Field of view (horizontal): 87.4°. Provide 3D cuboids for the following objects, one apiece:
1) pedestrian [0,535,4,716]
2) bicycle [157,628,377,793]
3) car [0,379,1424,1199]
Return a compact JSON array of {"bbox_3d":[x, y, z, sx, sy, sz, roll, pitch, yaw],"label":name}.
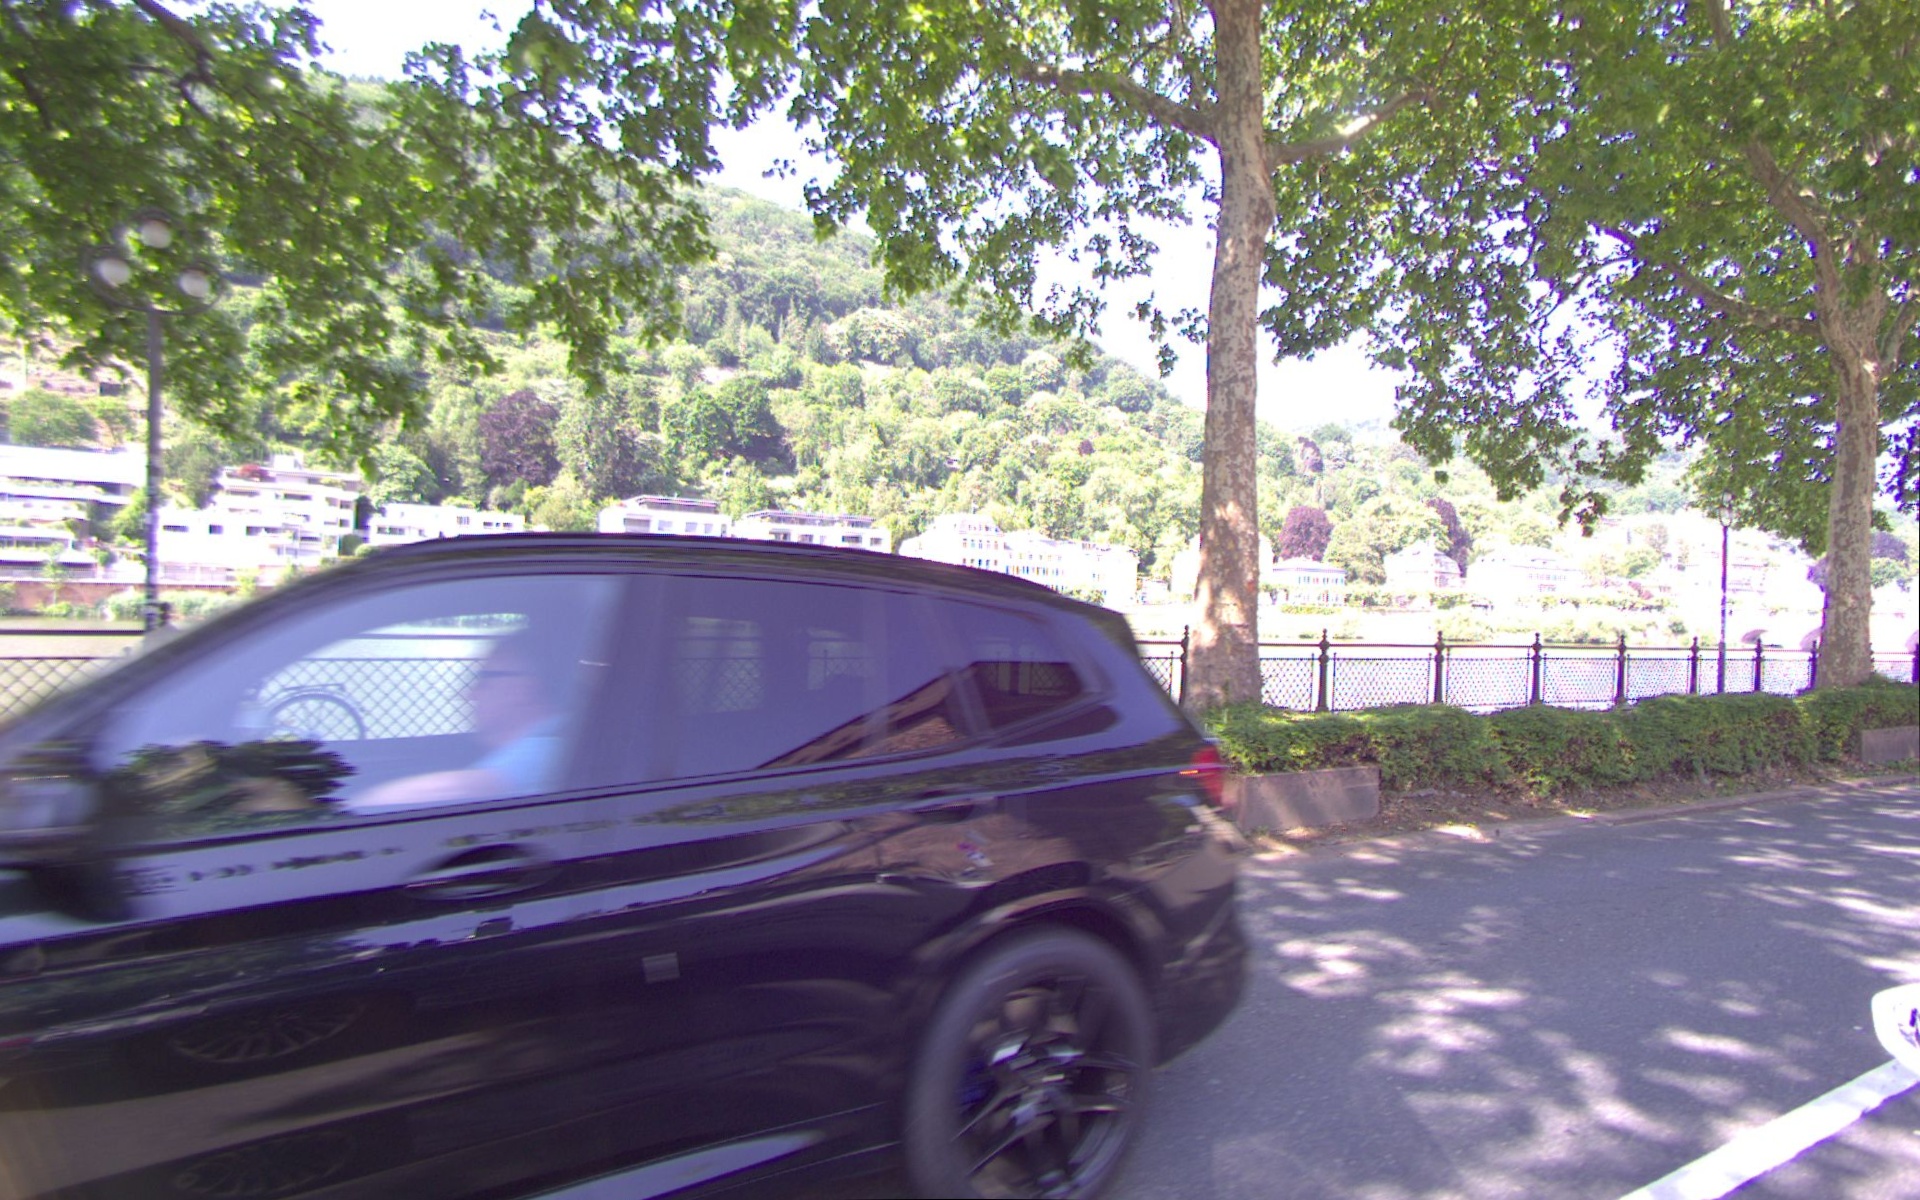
[{"bbox_3d":[-6.151,0.440,5.932,0.576,1.708,0.598,1,0,-30],"label":"pedestrian"},{"bbox_3d":[-5.033,0.778,7.368,1.281,1.106,0.357,2,3,-31],"label":"bicycle"},{"bbox_3d":[-0.982,0.644,2.699,4.369,1.747,1.805,2,-5,-30],"label":"car"}]
